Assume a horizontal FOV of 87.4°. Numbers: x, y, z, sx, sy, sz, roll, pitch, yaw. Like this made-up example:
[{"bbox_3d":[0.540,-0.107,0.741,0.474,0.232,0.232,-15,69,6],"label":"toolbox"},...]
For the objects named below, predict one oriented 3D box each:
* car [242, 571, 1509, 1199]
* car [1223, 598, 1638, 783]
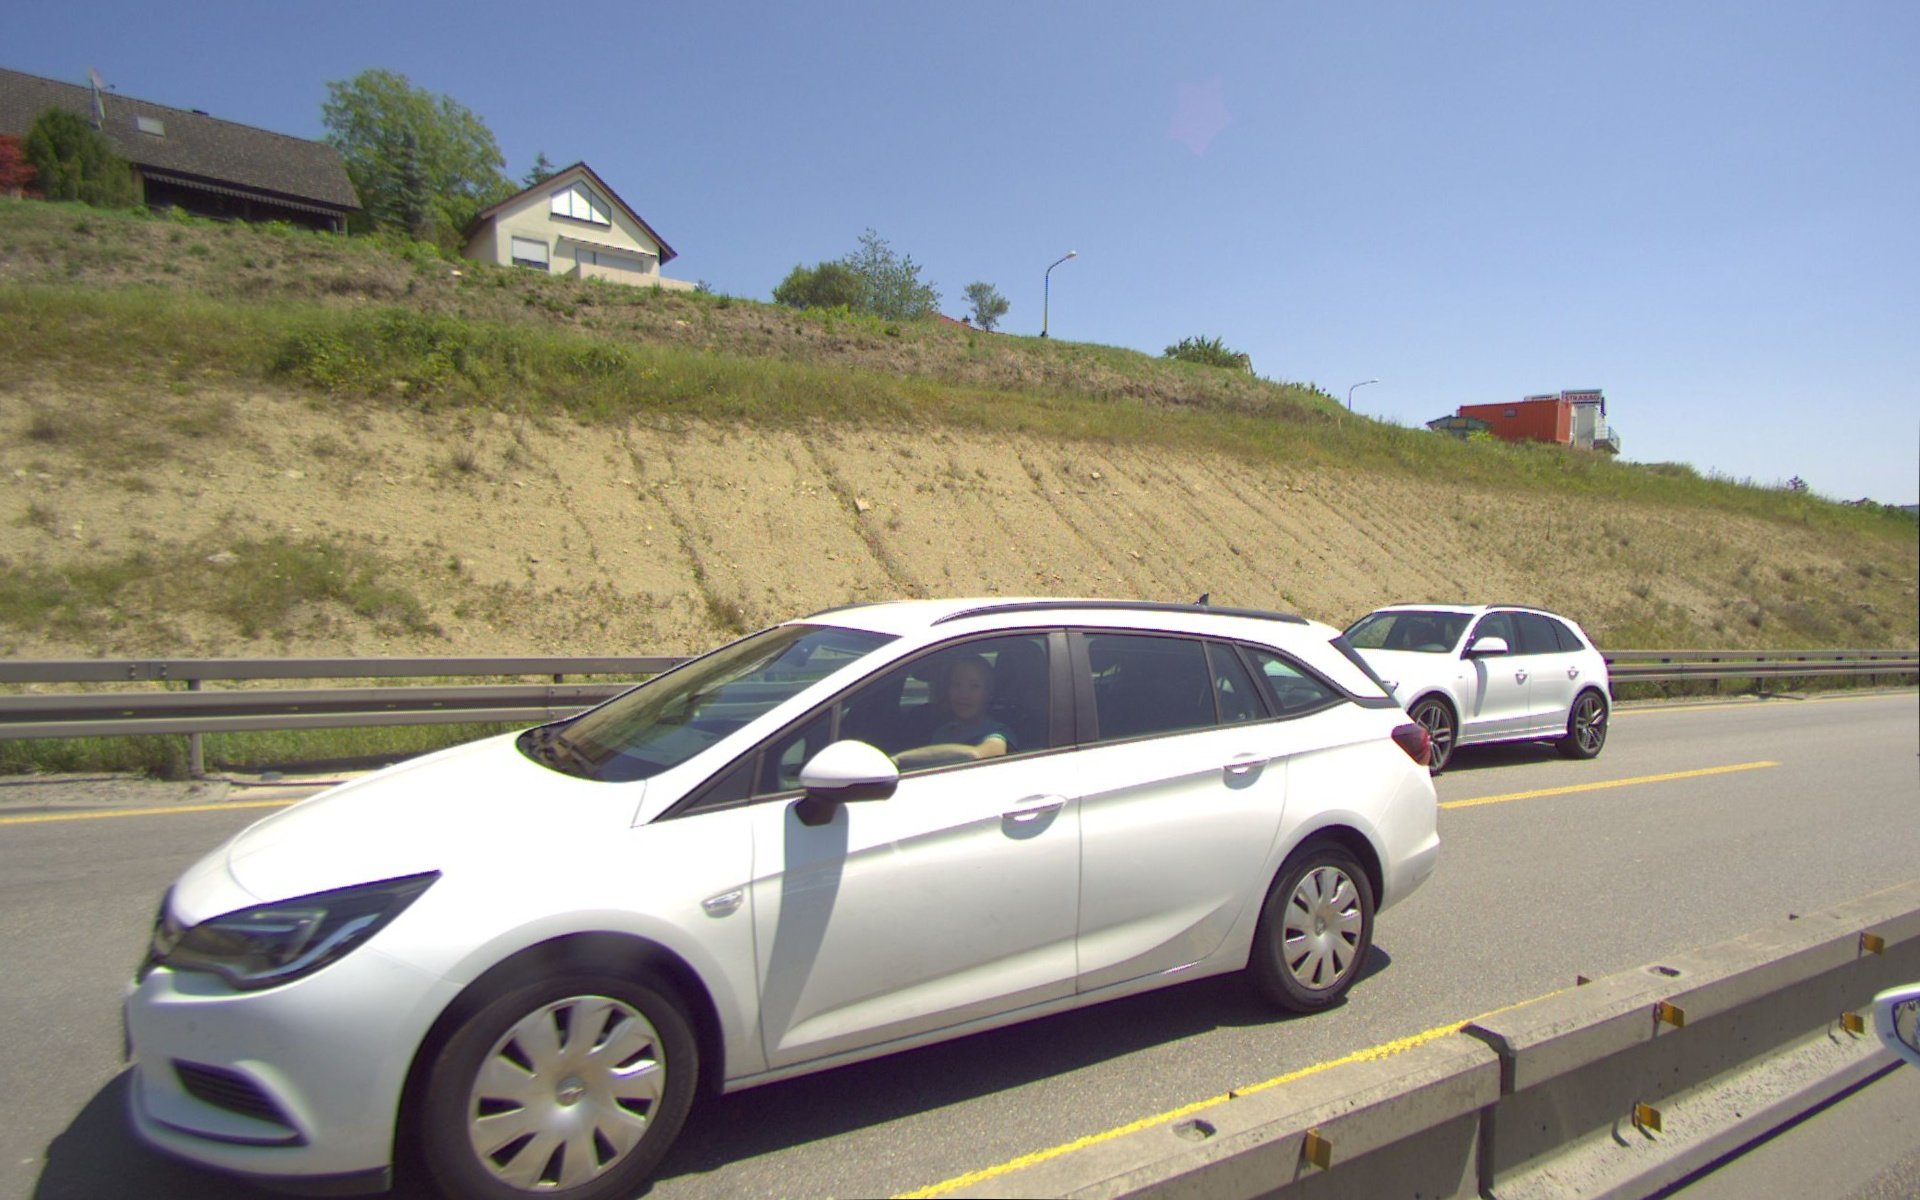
[{"bbox_3d":[-0.017,0.725,3.808,4.231,1.497,1.797,1,0,-31],"label":"car"},{"bbox_3d":[5.134,0.838,10.809,4.463,1.606,1.889,1,0,-31],"label":"car"}]
